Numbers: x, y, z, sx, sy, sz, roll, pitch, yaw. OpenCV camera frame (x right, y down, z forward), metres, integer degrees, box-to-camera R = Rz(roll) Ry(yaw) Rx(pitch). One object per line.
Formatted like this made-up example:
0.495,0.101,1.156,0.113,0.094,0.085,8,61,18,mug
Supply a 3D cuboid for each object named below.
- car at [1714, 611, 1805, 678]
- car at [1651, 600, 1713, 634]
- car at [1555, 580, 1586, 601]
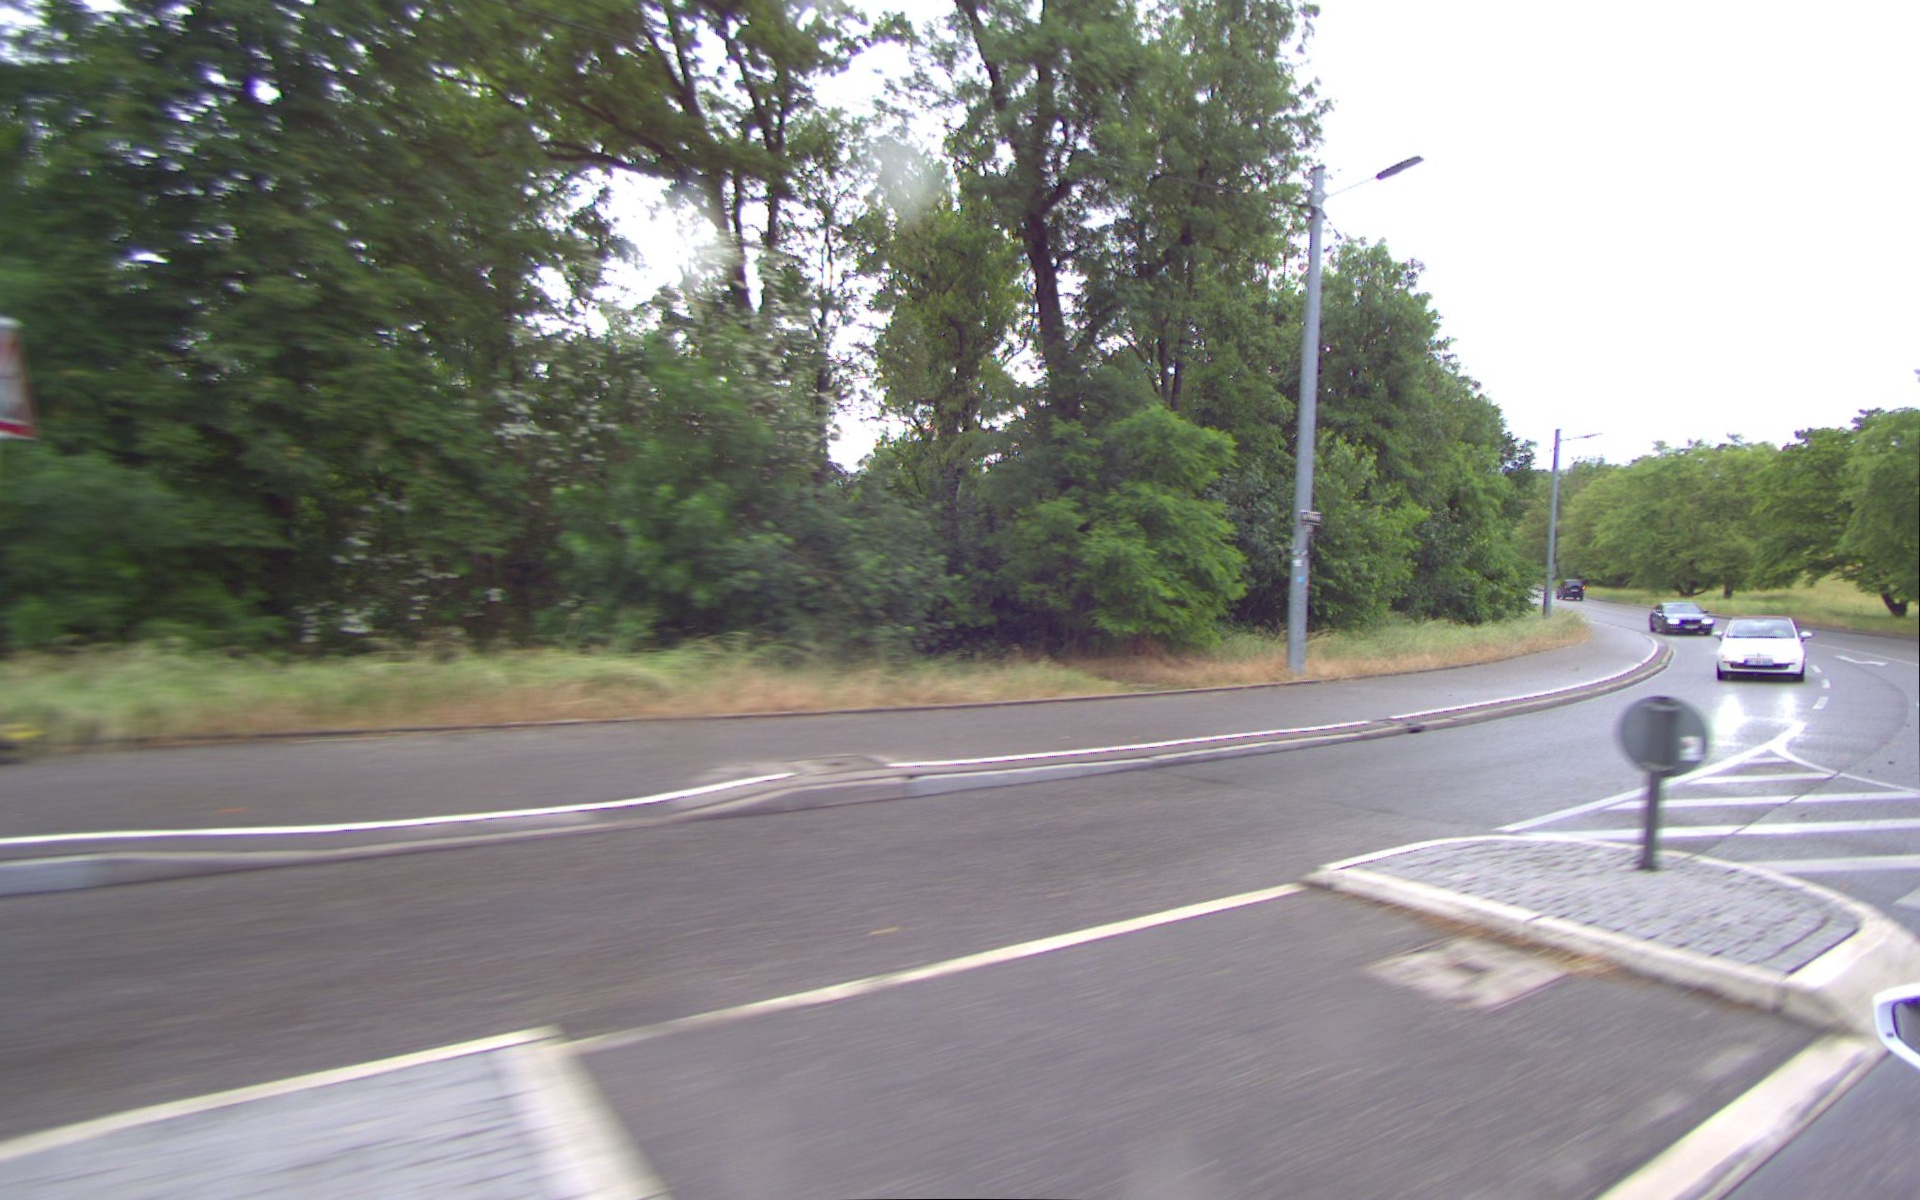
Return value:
19.601,1.041,24.588,1.549,1.497,3.648,-1,-1,41,car
34.452,0.819,48.046,1.819,1.521,4.623,-1,-1,29,car
55.951,-0.871,92.048,1.713,1.740,3.997,4,3,22,car
